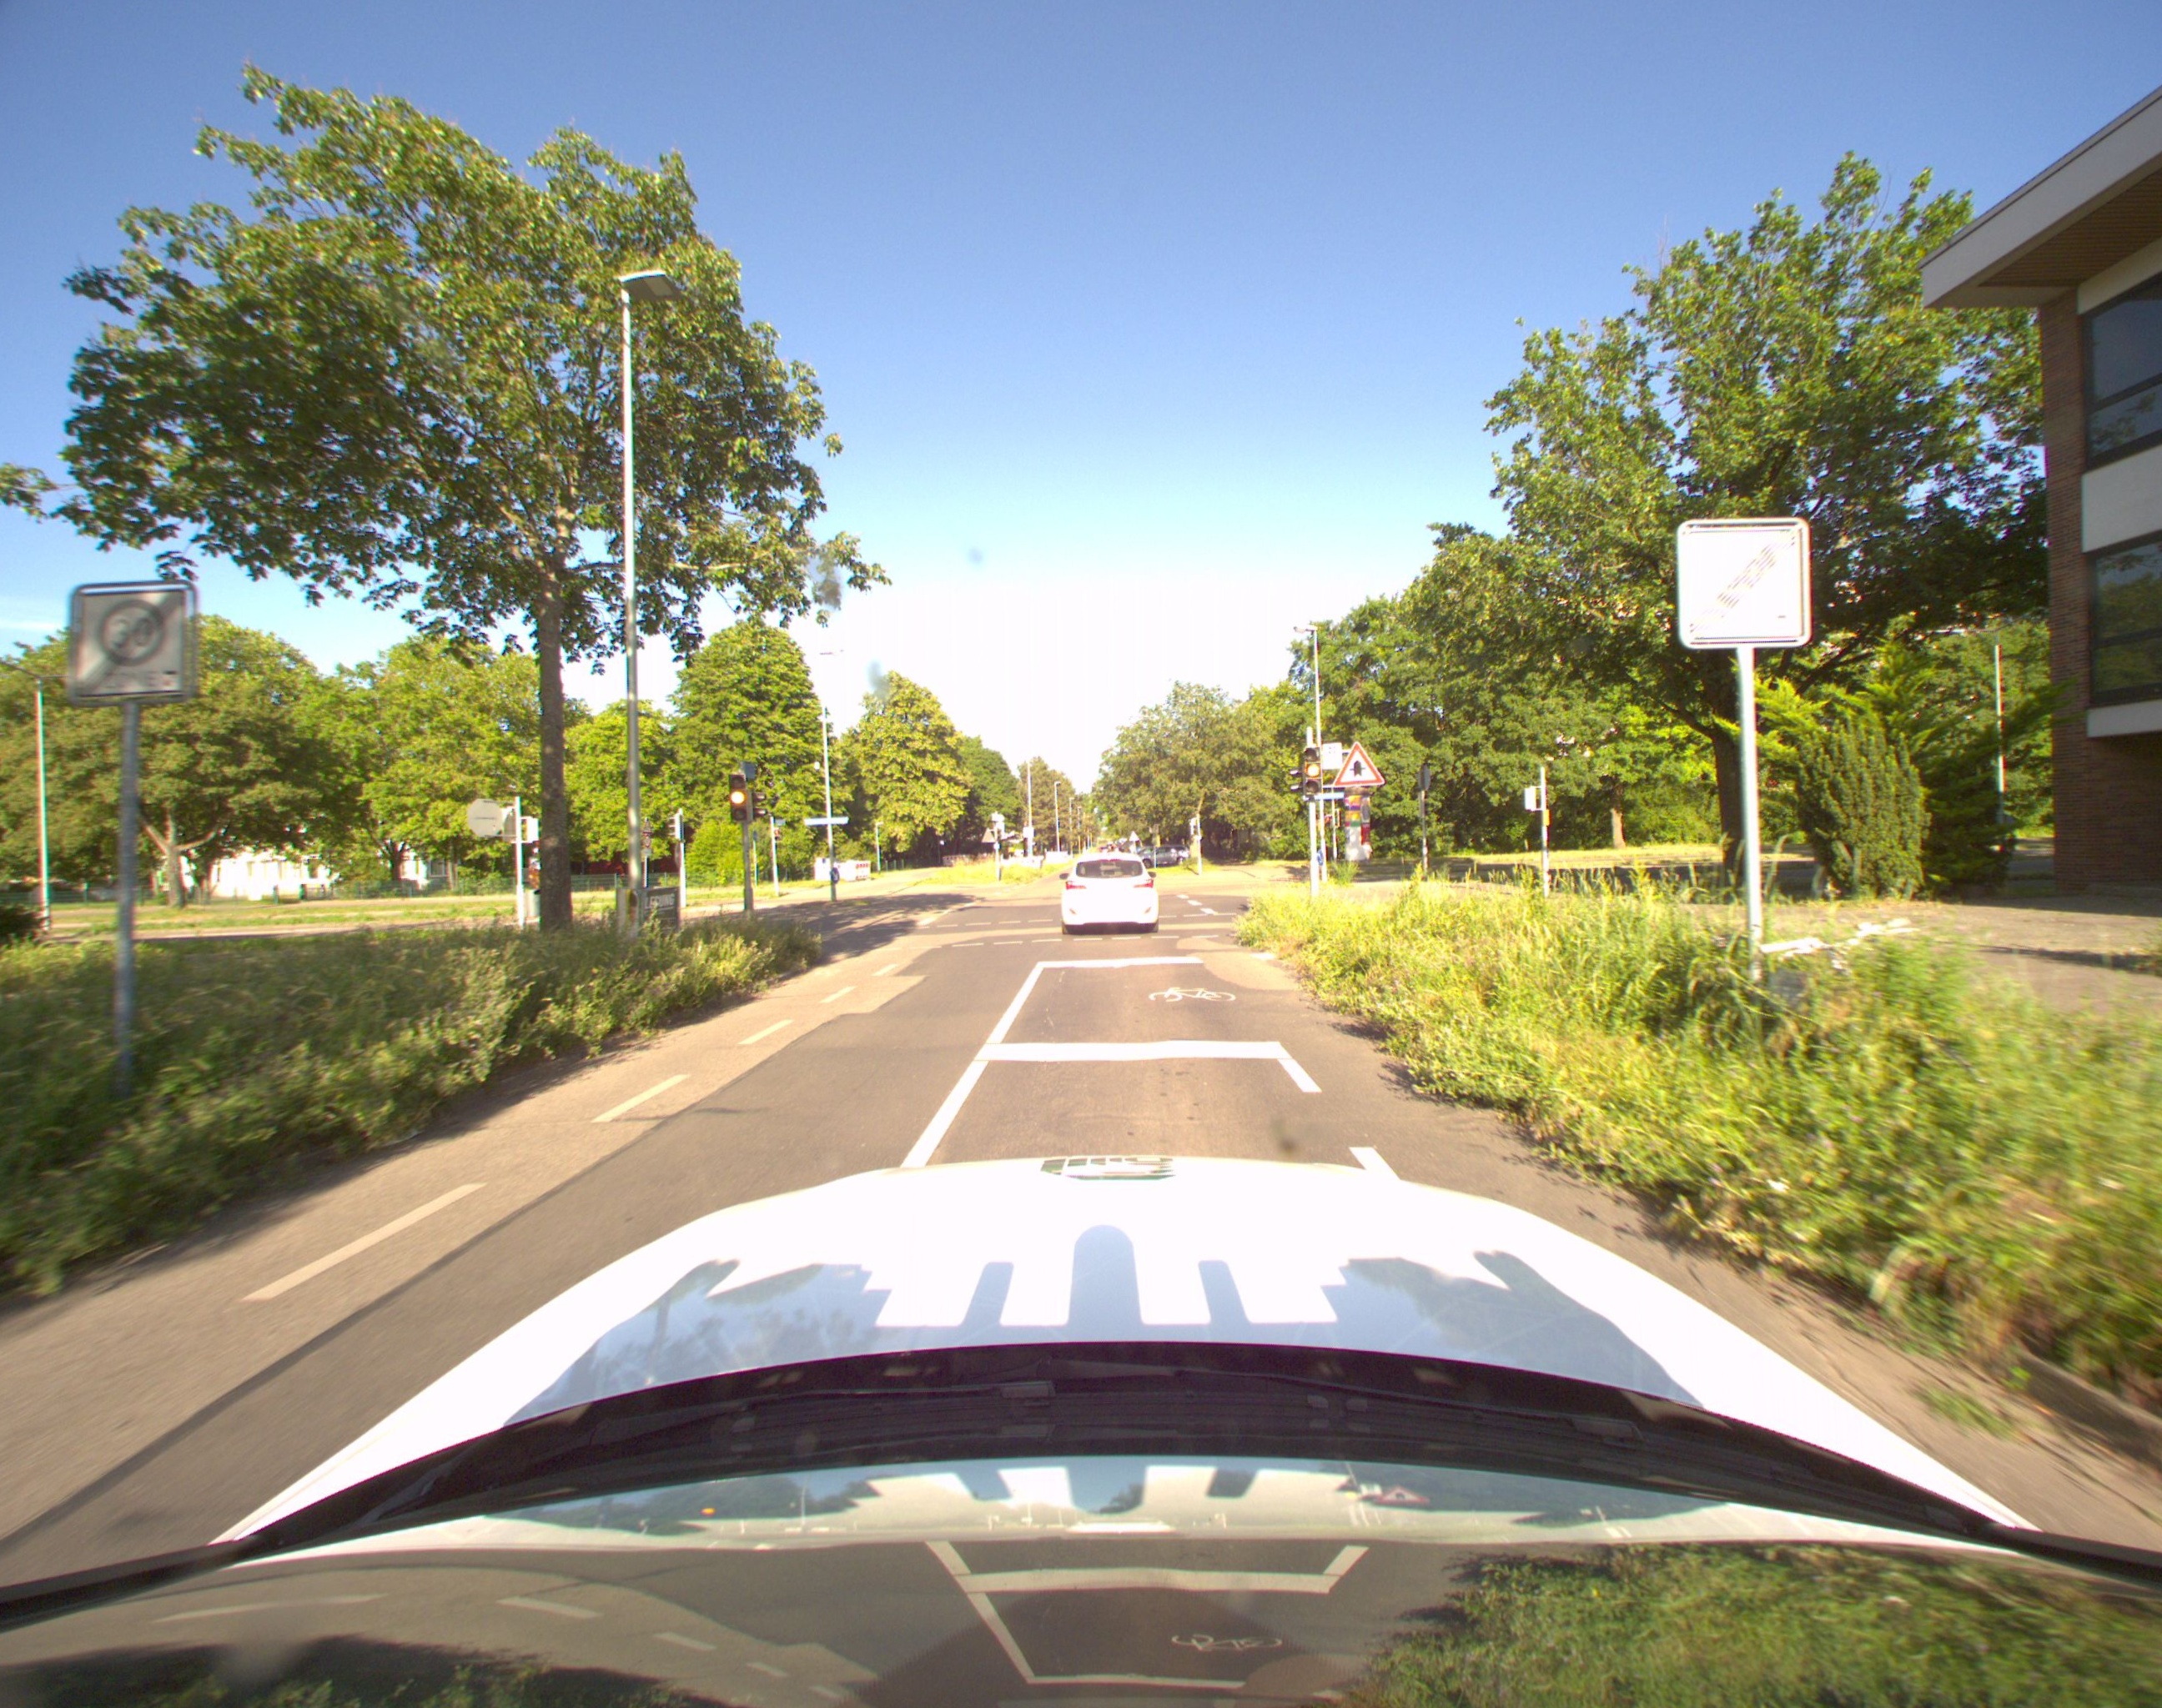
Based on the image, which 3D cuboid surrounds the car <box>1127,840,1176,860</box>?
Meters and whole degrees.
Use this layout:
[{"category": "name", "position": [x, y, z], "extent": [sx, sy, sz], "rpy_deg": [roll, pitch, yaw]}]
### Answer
[{"category": "car", "position": [6.530, -0.362, 75.450], "extent": [4.478, 1.629, 1.857], "rpy_deg": [-2, 1, 4]}]

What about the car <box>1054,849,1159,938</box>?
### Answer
[{"category": "car", "position": [0.519, 0.681, 16.140], "extent": [1.782, 1.463, 3.965], "rpy_deg": [-2, 1, 2]}]

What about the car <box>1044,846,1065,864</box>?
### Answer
[{"category": "car", "position": [-2.834, 0.042, 87.742], "extent": [1.986, 1.815, 4.003], "rpy_deg": [-1, 1, 2]}]

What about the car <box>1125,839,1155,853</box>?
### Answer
[{"category": "car", "position": [7.667, -1.029, 105.319], "extent": [3.804, 1.684, 1.864], "rpy_deg": [-1, 0, 2]}]

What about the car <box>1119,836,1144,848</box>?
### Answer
[{"category": "car", "position": [8.822, -2.073, 142.674], "extent": [4.285, 1.907, 1.864], "rpy_deg": [-1, 0, 2]}]

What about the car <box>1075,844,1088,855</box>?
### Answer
[{"category": "car", "position": [0.099, -0.799, 136.082], "extent": [1.986, 1.815, 4.003], "rpy_deg": [-2, 1, 2]}]

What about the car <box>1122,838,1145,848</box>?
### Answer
[{"category": "car", "position": [8.936, -1.888, 139.520], "extent": [3.804, 1.767, 1.864], "rpy_deg": [-1, 0, 2]}]

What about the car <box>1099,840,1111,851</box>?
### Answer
[{"category": "car", "position": [4.203, -1.454, 142.808], "extent": [1.986, 1.815, 4.003], "rpy_deg": [0, 0, 2]}]

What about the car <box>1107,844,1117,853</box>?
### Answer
[{"category": "car", "position": [6.931, -1.199, 181.739], "extent": [1.986, 1.816, 4.002], "rpy_deg": [-1, 0, 2]}]

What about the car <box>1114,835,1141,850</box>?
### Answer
[{"category": "car", "position": [6.575, -1.585, 115.391], "extent": [3.804, 2.098, 1.864], "rpy_deg": [-1, 0, 2]}]

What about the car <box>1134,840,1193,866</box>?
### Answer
[{"category": "car", "position": [6.393, -0.085, 63.247], "extent": [4.478, 1.782, 1.857], "rpy_deg": [-2, 1, 4]}]

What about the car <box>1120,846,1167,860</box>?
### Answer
[{"category": "car", "position": [7.561, -0.127, 98.850], "extent": [5.592, 1.684, 1.949], "rpy_deg": [-1, 0, 2]}]
